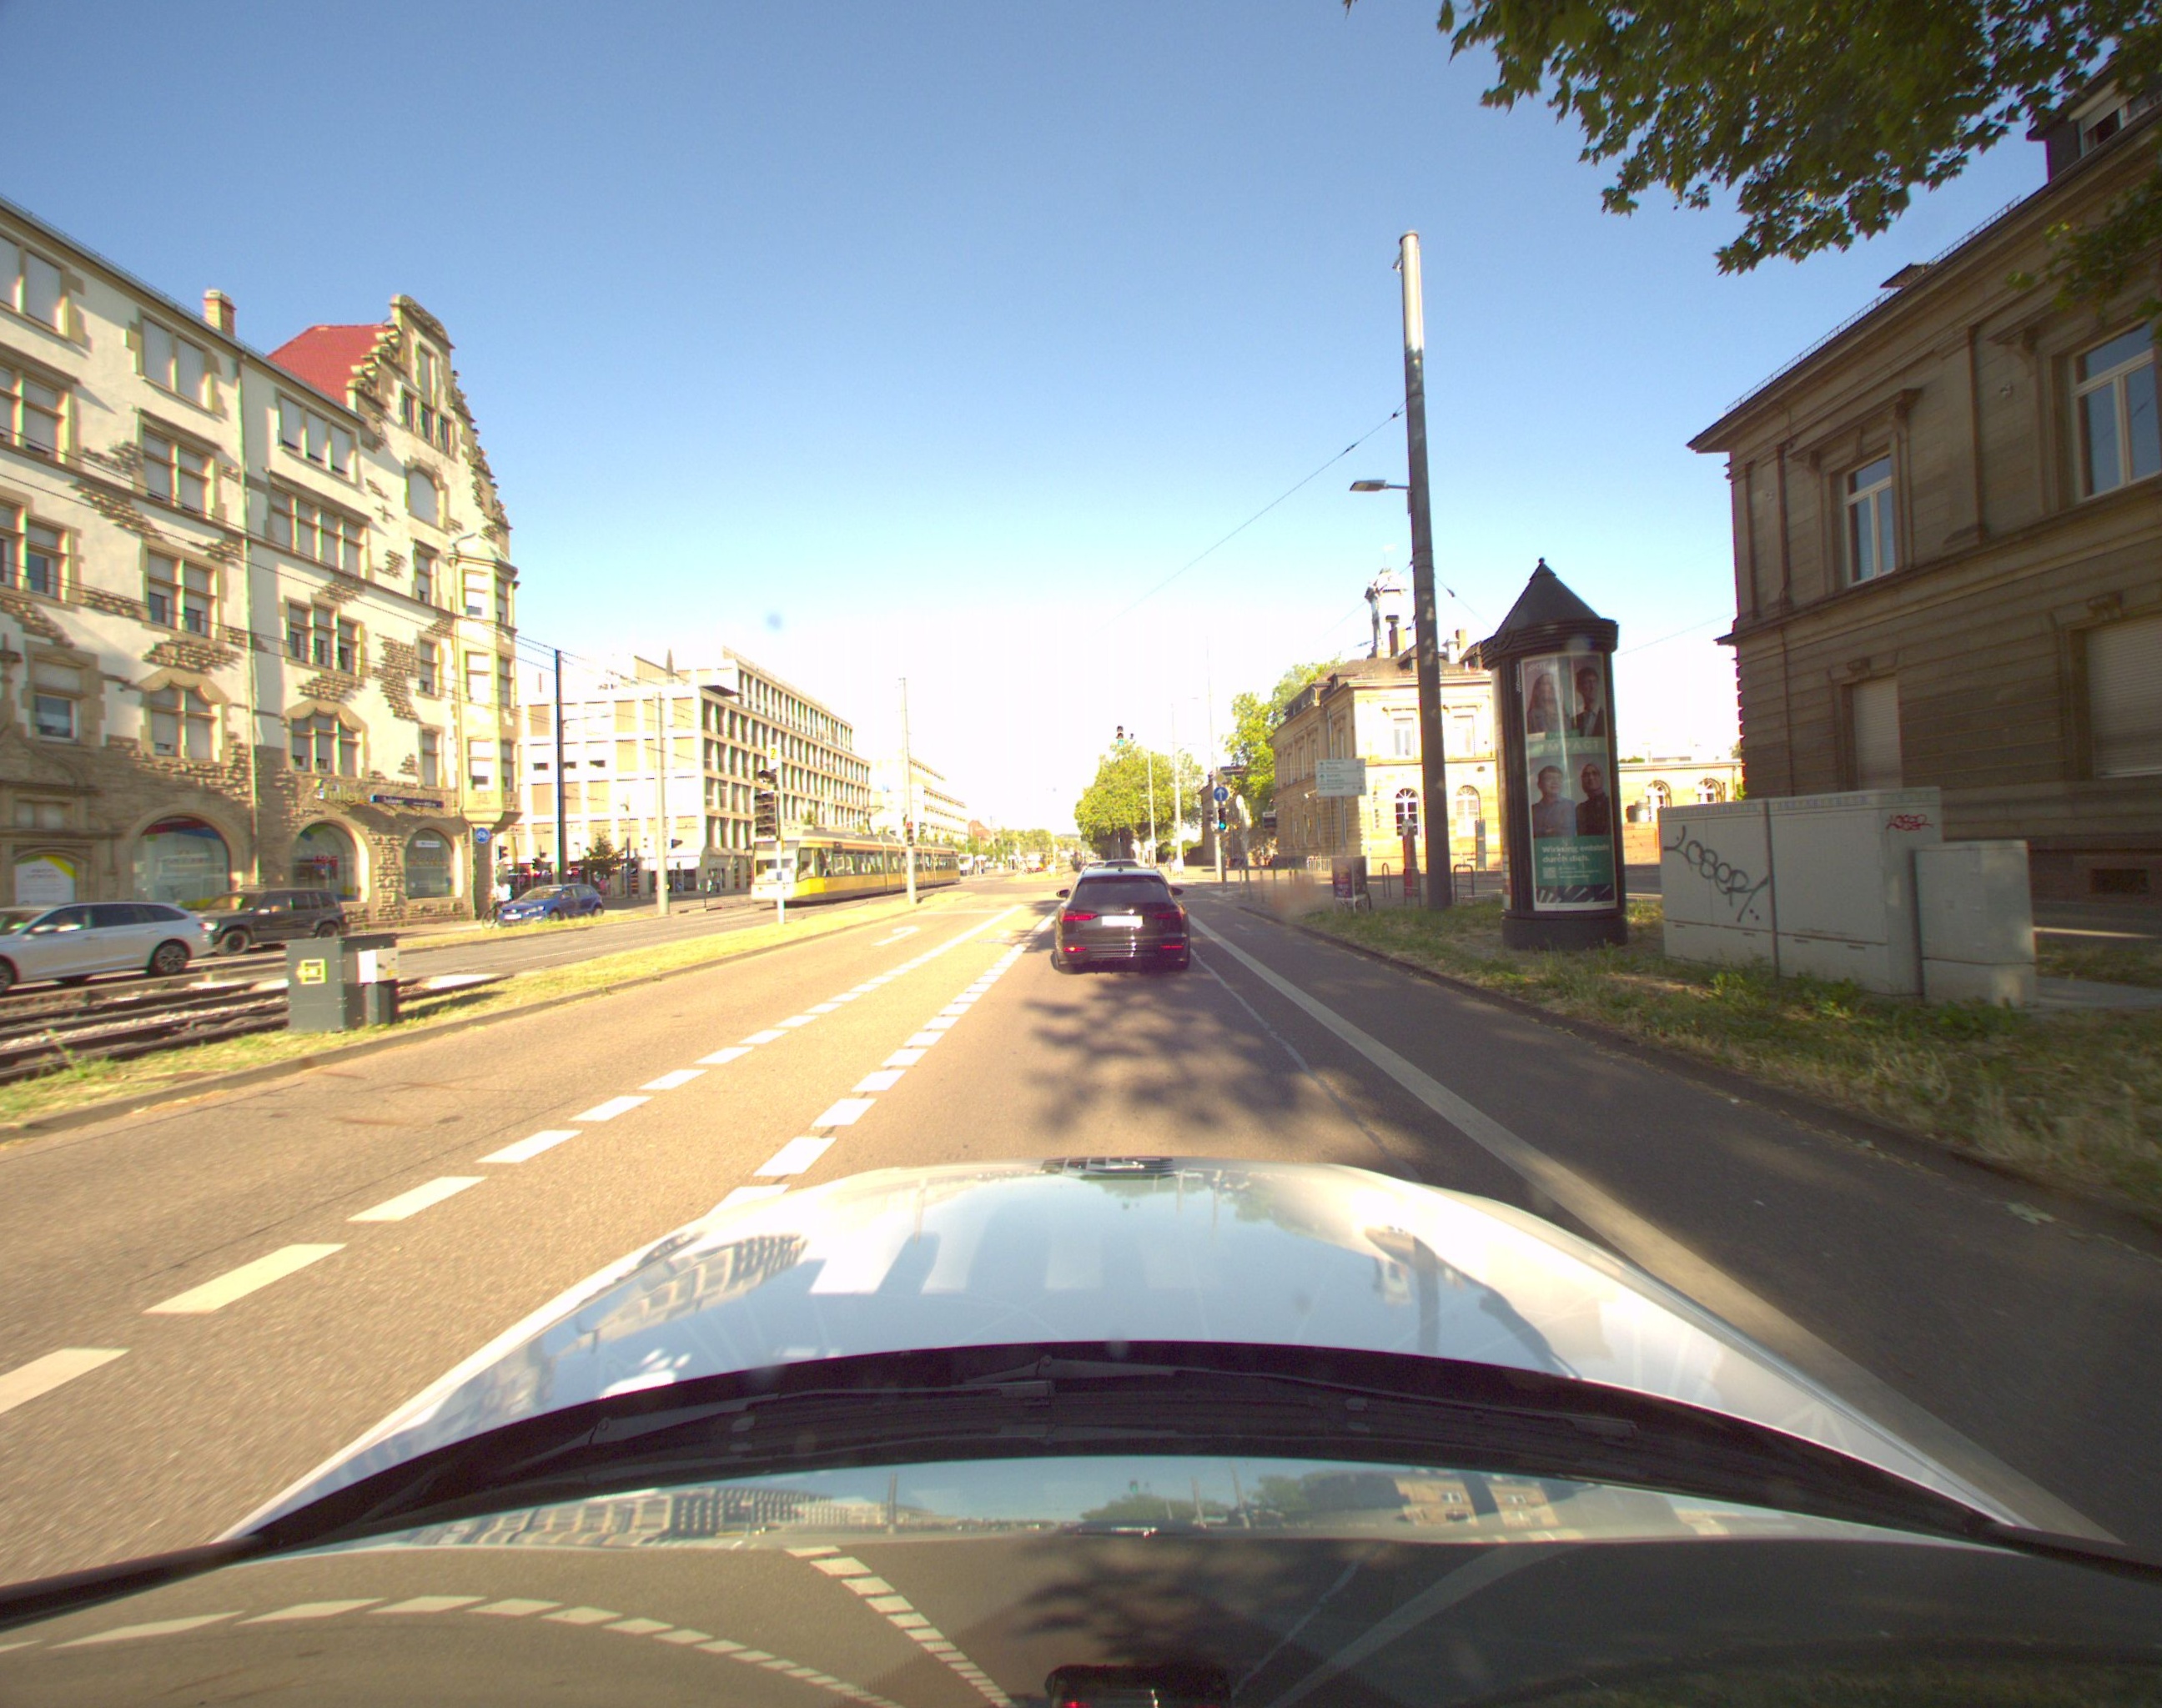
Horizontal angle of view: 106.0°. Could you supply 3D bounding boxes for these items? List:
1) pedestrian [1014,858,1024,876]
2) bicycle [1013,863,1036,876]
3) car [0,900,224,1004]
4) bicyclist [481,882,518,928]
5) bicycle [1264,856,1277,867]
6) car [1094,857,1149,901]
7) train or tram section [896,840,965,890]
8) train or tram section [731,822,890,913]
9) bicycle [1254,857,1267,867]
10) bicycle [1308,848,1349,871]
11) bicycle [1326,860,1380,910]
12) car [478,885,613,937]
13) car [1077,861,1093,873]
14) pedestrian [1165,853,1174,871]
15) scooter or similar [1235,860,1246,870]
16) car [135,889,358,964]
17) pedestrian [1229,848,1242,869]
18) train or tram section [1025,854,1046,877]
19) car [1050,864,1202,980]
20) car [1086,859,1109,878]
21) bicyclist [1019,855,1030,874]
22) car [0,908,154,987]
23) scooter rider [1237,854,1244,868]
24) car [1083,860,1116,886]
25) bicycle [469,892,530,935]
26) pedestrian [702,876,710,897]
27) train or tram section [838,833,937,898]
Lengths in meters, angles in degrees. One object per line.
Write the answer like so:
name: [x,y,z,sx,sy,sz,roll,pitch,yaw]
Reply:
pedestrian: [-6.056,1.242,79.489,0.743,1.741,0.658,-2,-1,-23]
bicycle: [-5.446,1.507,78.044,2.012,1.108,0.759,-3,-1,-20]
car: [-17.656,1.644,13.686,1.816,1.457,4.534,-3,-1,-4]
bicyclist: [-20.758,1.815,29.087,0.682,1.563,0.786,-3,-1,2]
bicycle: [20.062,0.809,86.251,0.525,1.047,2.353,-3,0,-7]
car: [1.512,0.907,30.962,1.896,1.486,4.146,-2,-1,1]
train or tram section: [-11.733,0.838,64.945,2.803,3.489,12.155,-3,-1,1]
train or tram section: [-12.325,0.600,39.054,2.803,3.489,13.206,-3,-1,1]
bicycle: [19.002,0.834,86.281,0.525,1.047,2.353,-3,0,-7]
bicycle: [14.454,0.337,47.606,2.130,1.209,0.765,-4,-1,-1]
bicycle: [6.157,0.688,18.518,0.539,1.061,1.769,-3,-1,-2]
car: [-18.343,1.900,28.148,1.814,1.457,4.156,-3,-1,0]
car: [0.551,1.622,103.133,1.896,1.486,4.146,-2,-1,1]
pedestrian: [8.542,0.798,78.545,0.680,1.660,0.758,-3,-1,-1]
scooter or similar: [15.775,1.077,80.398,0.936,0.966,0.361,-4,-2,-2]
car: [-22.305,1.862,22.050,1.711,1.675,4.215,0,0,-1]
pedestrian: [14.666,0.431,77.502,0.976,1.865,0.826,-3,-1,0]
train or tram section: [-7.254,1.773,130.615,2.601,3.451,11.128,-3,0,-1]
car: [0.632,0.894,12.496,1.896,1.422,4.146,-2,-1,1]
car: [1.409,1.191,69.110,1.896,1.486,4.146,-2,-1,1]
bicyclist: [-5.398,1.022,78.082,0.759,1.818,0.759,-3,-1,-20]
car: [-22.335,1.949,16.533,1.711,1.423,4.654,0,0,0]
scooter rider: [15.751,0.671,80.412,0.483,1.385,0.377,-4,-2,-1]
car: [1.121,1.126,49.977,1.896,1.486,4.146,-2,-1,1]
bicycle: [-20.740,2.110,29.100,0.682,1.382,1.948,-3,-1,2]
pedestrian: [-33.633,2.943,72.980,0.475,1.843,0.438,-2,-1,-37]
train or tram section: [-12.019,0.716,52.271,2.803,3.489,13.206,-3,-1,1]
